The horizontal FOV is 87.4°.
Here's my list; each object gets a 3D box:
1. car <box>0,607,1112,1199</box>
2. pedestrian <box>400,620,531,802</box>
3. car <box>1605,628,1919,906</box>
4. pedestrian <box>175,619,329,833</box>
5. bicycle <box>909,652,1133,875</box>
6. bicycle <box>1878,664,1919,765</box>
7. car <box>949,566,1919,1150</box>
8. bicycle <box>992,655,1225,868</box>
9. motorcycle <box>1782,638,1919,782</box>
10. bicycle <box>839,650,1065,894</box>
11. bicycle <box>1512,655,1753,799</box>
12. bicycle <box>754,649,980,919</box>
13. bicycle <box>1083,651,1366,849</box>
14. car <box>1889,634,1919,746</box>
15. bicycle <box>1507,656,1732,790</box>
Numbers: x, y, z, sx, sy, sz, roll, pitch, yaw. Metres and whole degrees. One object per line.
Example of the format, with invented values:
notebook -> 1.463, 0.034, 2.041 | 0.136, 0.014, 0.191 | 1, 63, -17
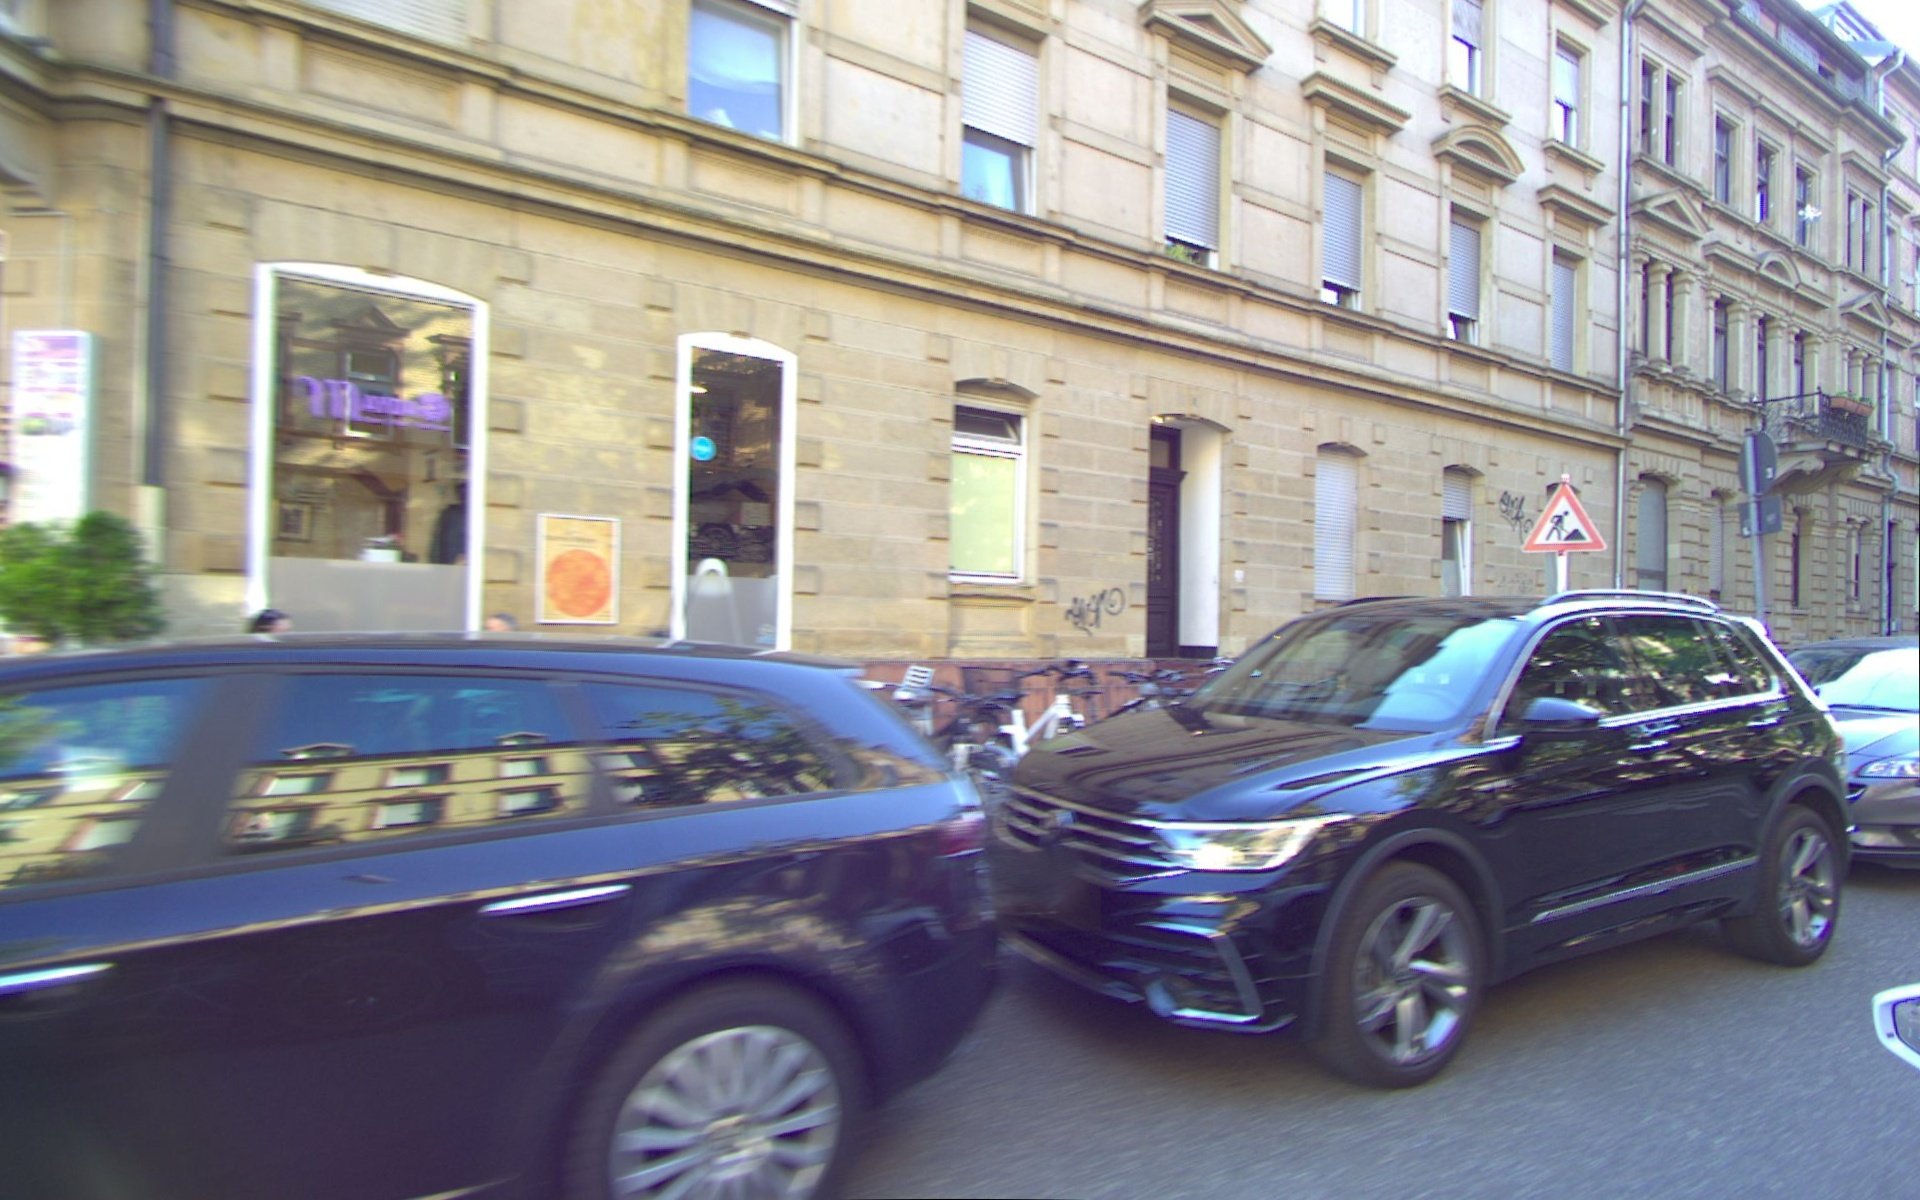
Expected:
car -> -1.981, 0.777, 2.451 | 4.491, 1.470, 1.753 | 2, -3, -26
pedestrian -> -3.603, 0.769, 7.311 | 0.749, 1.230, 0.721 | 2, -2, -34
car -> 6.639, 0.975, 7.138 | 4.010, 1.520, 1.751 | 1, -2, -29
pedestrian -> -4.541, 0.765, 6.491 | 0.749, 1.275, 0.721 | 2, -2, -34
bicycle -> 0.317, 0.960, 6.520 | 0.522, 1.143, 1.859 | 2, -1, -28
bicycle -> 12.893, 1.355, 11.832 | 2.865, 1.173, 0.999 | -1, -2, 19
car -> 2.331, 0.784, 4.640 | 4.492, 1.621, 1.752 | 1, -2, -28
bicycle -> 0.926, 0.992, 6.801 | 0.522, 1.143, 1.859 | 2, -1, -28
motorcycle -> 10.132, 1.120, 11.009 | 2.579, 1.388, 1.059 | 1, -1, -34
bicycle -> -0.124, 0.922, 6.044 | 0.522, 1.143, 1.859 | 2, -1, -28
bicycle -> 6.351, 1.153, 9.606 | 0.522, 1.143, 1.858 | 2, -1, -31
bicycle -> -0.589, 0.885, 5.520 | 0.522, 1.143, 1.859 | 2, -1, -28
bicycle -> 1.812, 0.981, 7.061 | 1.843, 1.143, 0.526 | 1, -1, 37
car -> 15.069, 1.244, 14.165 | 4.011, 1.520, 1.751 | 1, -2, -30
bicycle -> 6.619, 1.186, 10.198 | 0.522, 1.143, 1.858 | 2, -1, -31
